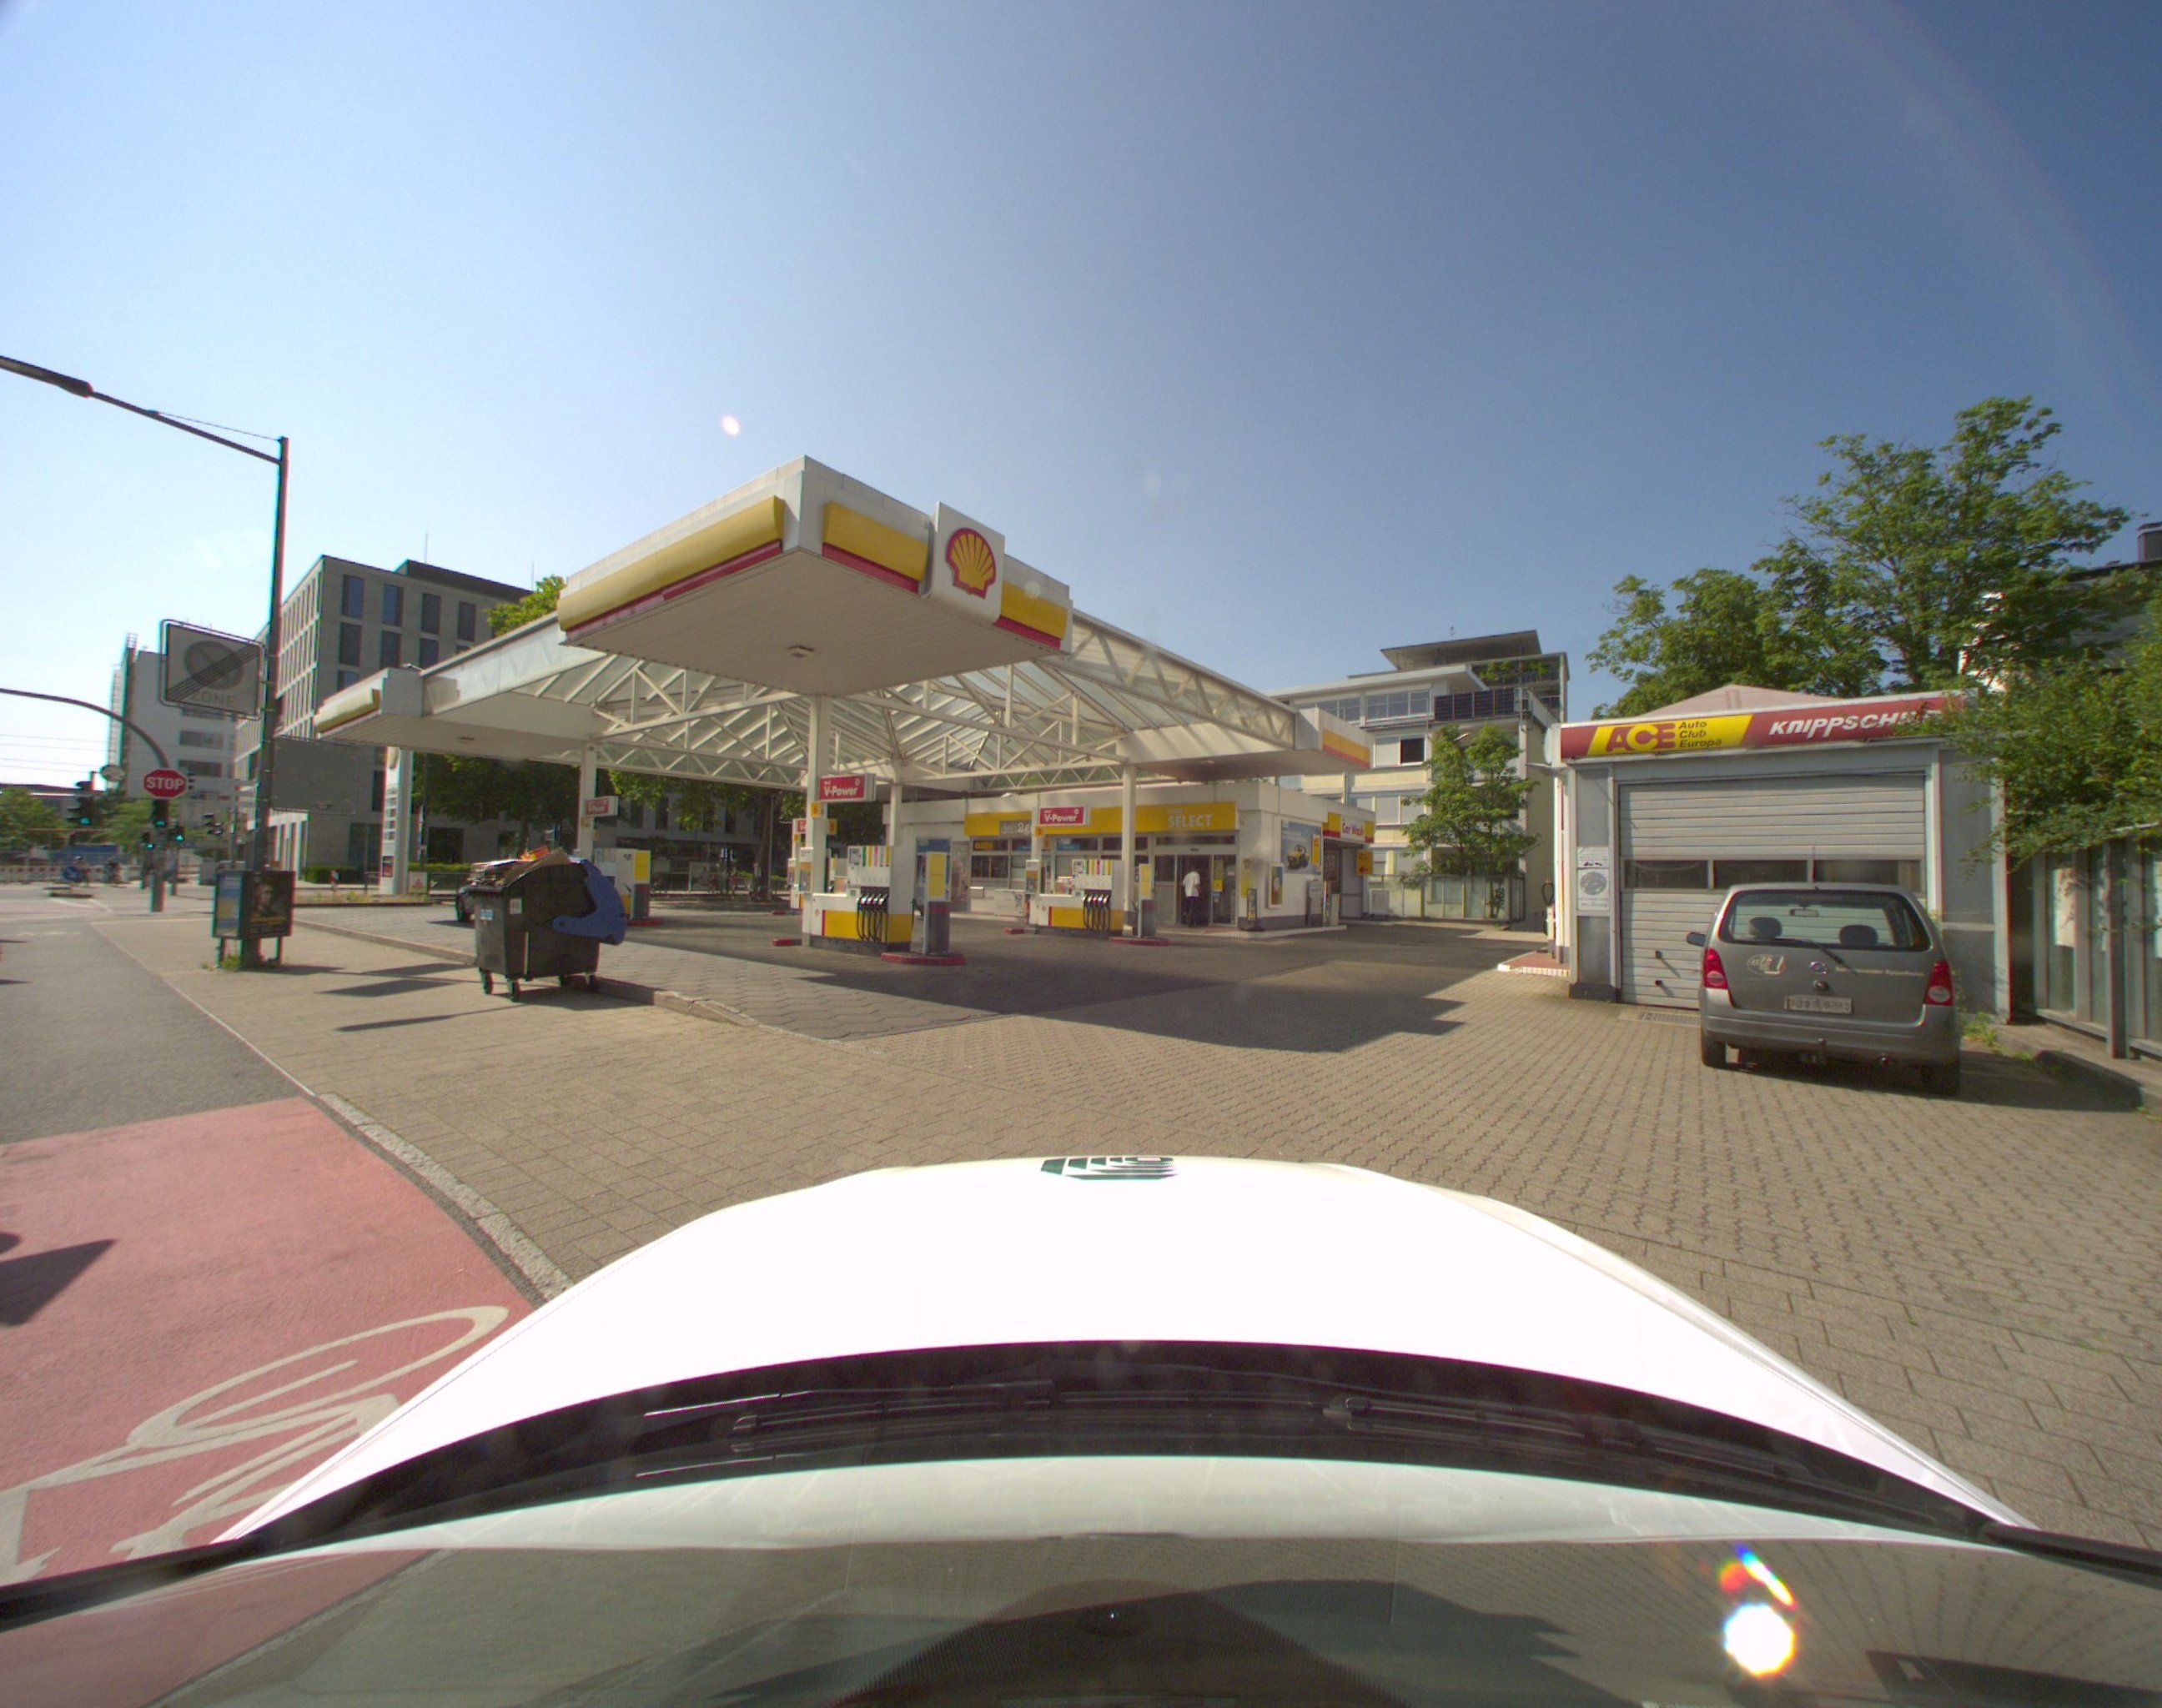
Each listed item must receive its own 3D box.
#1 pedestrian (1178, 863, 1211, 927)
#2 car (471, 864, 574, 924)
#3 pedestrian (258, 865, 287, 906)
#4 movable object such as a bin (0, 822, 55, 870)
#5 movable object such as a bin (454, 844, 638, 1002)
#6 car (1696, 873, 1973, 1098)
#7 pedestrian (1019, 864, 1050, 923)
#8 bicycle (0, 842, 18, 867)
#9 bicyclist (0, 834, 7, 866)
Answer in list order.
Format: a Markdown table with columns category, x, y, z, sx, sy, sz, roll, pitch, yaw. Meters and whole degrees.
| category | x | y | z | sx | sy | sz | roll | pitch | yaw |
| --- | --- | --- | --- | --- | --- | --- | --- | --- | --- |
| pedestrian | 3.378 | 1.205 | 24.179 | 0.849 | 1.838 | 0.748 | 1 | -3 | 16 |
| car | -14.275 | 0.984 | 20.752 | 1.664 | 1.398 | 3.597 | 3 | -3 | -42 |
| pedestrian | -30.688 | 1.198 | 30.913 | 0.455 | 1.544 | 0.624 | -1 | -3 | 37 |
| movable object such as a bin | -106.172 | -0.913 | 77.853 | 3.123 | 4.551 | 9.766 | 0 | -3 | 39 |
| movable object such as a bin | -6.008 | 0.698 | 9.172 | 1.378 | 1.592 | 1.320 | 0 | 0 | 35 |
| car | 7.002 | 1.041 | 7.857 | 1.569 | 1.596 | 3.856 | -1 | -3 | 39 |
| pedestrian | -1.461 | 1.228 | 25.515 | 0.623 | 1.822 | 0.679 | -1 | -3 | 44 |
| bicycle | -88.360 | 0.014 | 66.247 | 0.817 | 1.962 | 2.107 | -1 | -4 | 43 |
| bicyclist | -88.385 | -0.320 | 66.222 | 0.817 | 2.575 | 1.079 | -1 | -4 | 43 |
